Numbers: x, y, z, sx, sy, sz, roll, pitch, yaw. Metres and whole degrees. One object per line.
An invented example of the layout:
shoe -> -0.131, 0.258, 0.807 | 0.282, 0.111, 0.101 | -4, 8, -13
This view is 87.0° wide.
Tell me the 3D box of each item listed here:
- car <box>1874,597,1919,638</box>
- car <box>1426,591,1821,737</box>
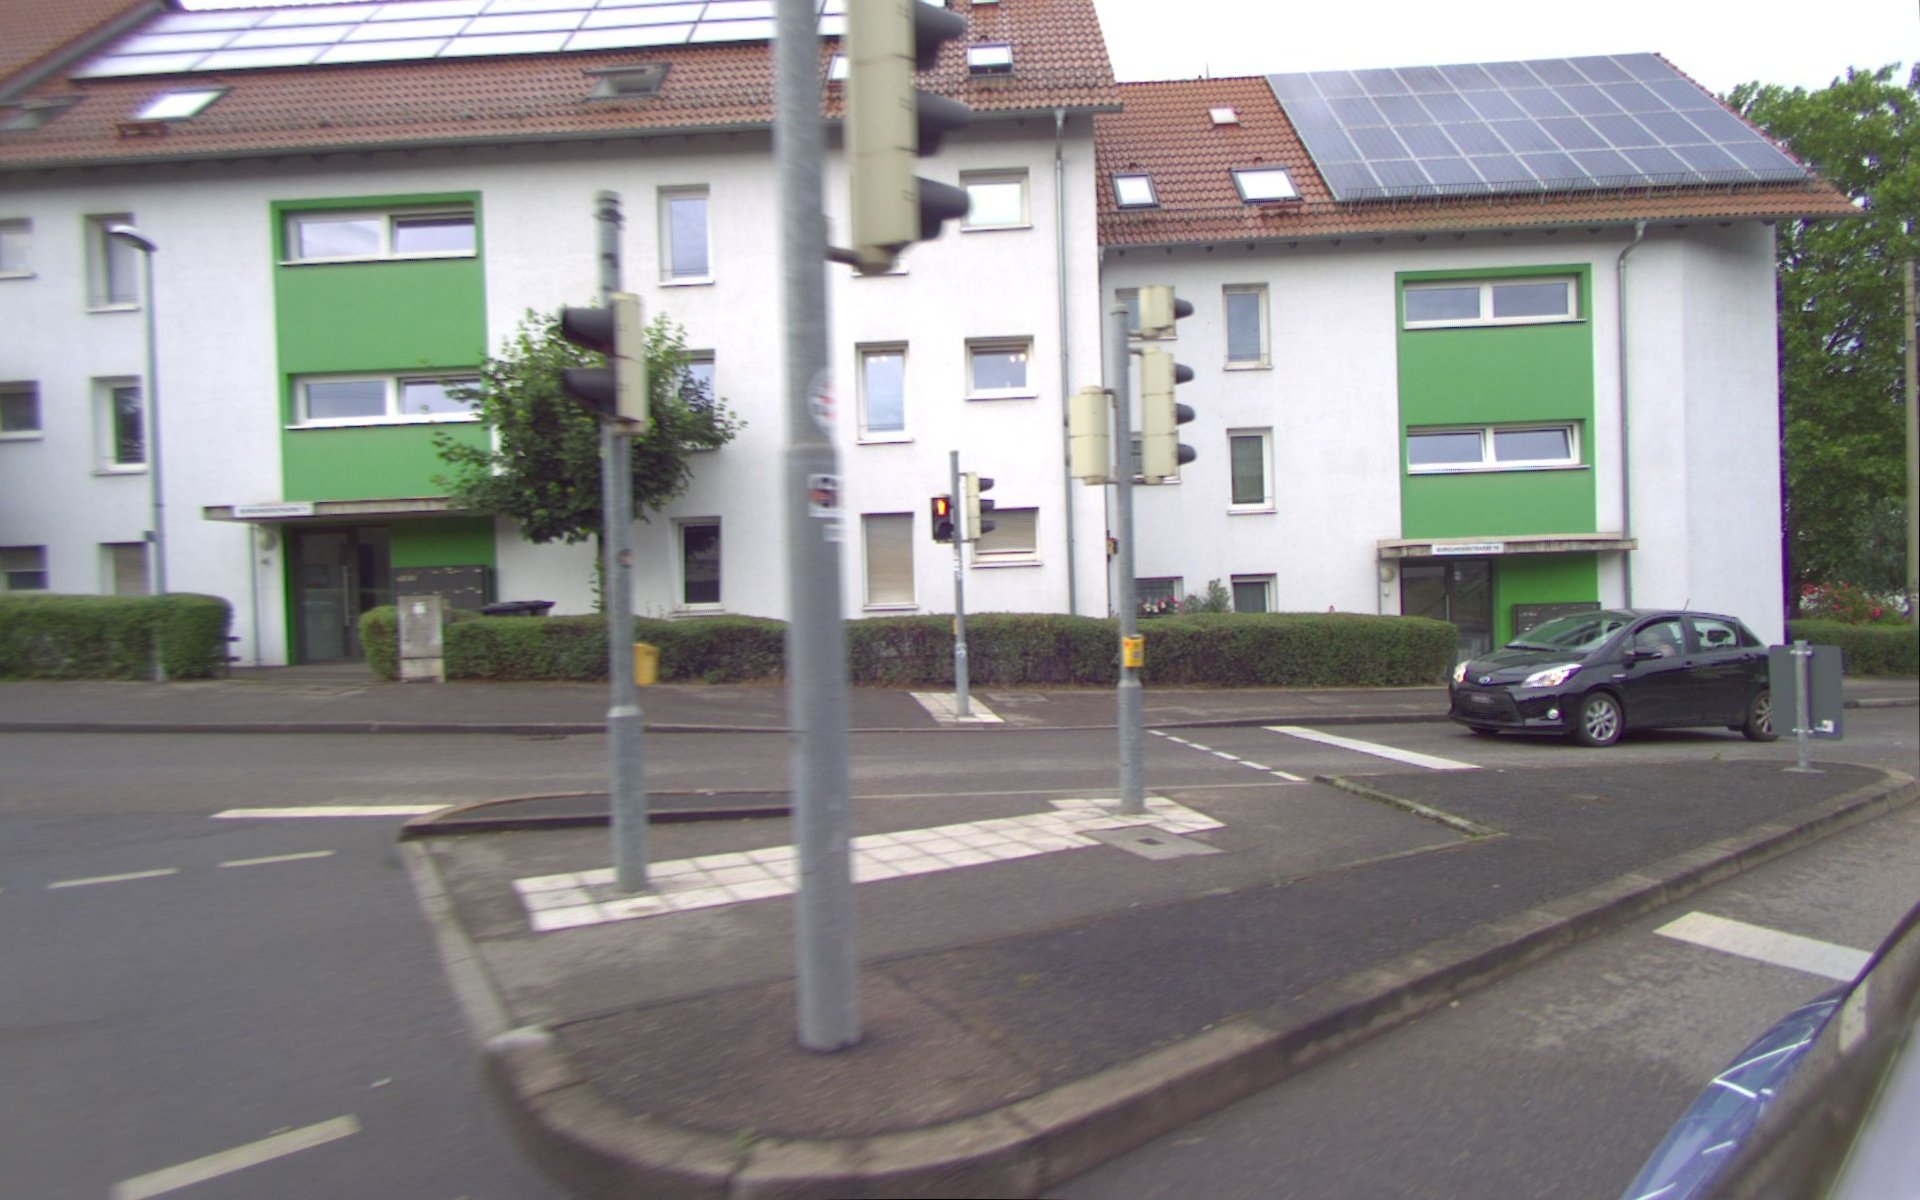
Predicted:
car -> 36.891, 0.631, 37.383 | 4.362, 1.533, 1.976 | -1, -1, 34
car -> 7.589, 0.671, 11.638 | 3.916, 1.477, 1.648 | 0, -1, -17
